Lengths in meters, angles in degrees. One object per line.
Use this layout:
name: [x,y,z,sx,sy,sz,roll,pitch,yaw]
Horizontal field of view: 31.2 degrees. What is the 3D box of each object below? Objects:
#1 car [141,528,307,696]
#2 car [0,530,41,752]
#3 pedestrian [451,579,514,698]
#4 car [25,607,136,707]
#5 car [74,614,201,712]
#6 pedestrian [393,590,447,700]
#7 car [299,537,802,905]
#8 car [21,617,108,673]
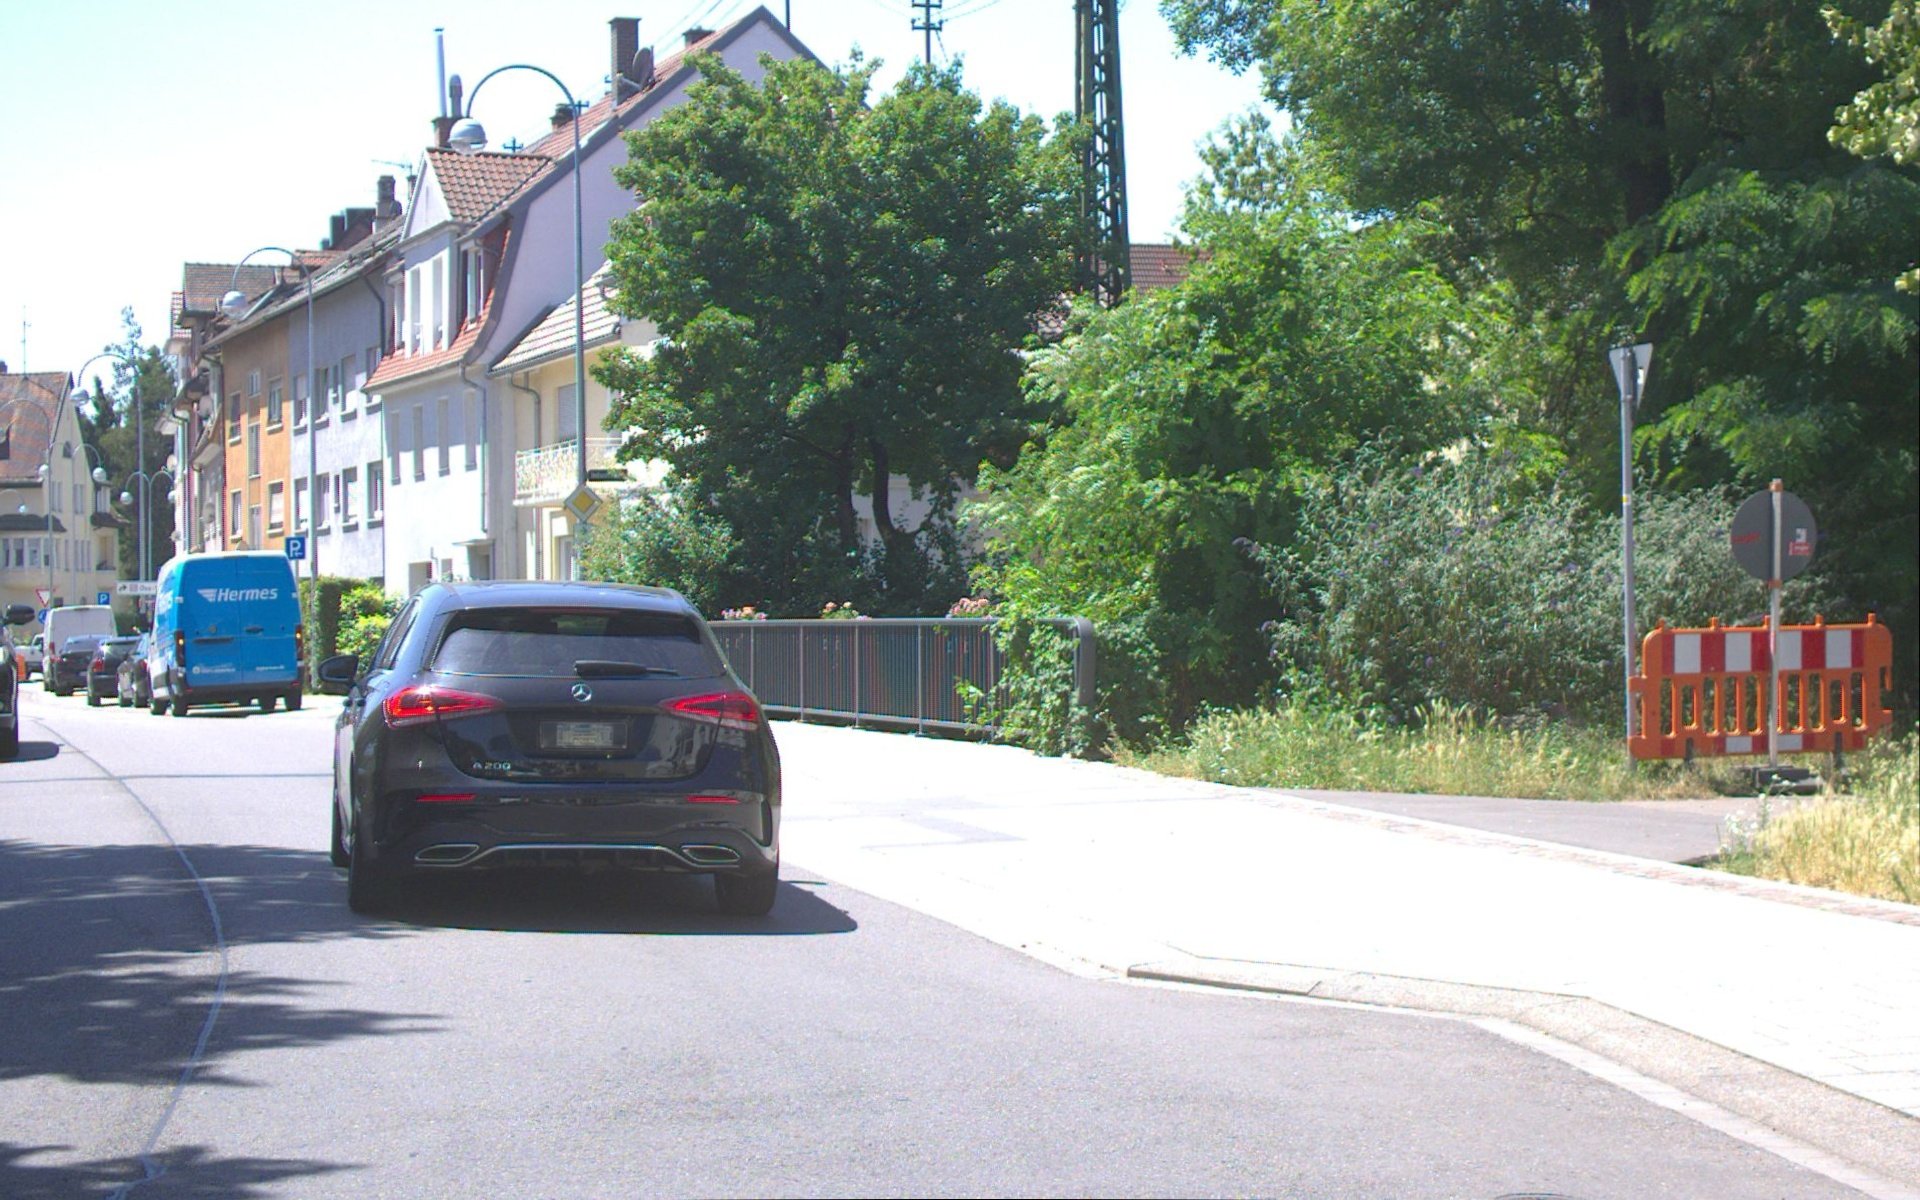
car: [-11.634,0.191,54.139,2.132,2.533,4.650,0,0,-17]
car: [-8.890,0.341,29.337,1.740,1.766,4.339,-2,1,-12]
pedestrian: [-7.024,0.557,50.585,0.660,1.735,0.702,0,-1,-35]
car: [-18.666,1.172,72.874,1.993,2.007,4.001,0,1,-18]
car: [-15.817,1.176,65.946,1.993,1.740,4.330,0,1,-18]
pedestrian: [-8.037,0.665,51.145,0.613,1.607,0.838,0,0,-23]
car: [-1.995,0.554,15.662,1.827,1.437,4.000,0,-2,-13]
car: [-24.348,1.203,93.399,1.993,1.387,4.330,0,1,-18]
